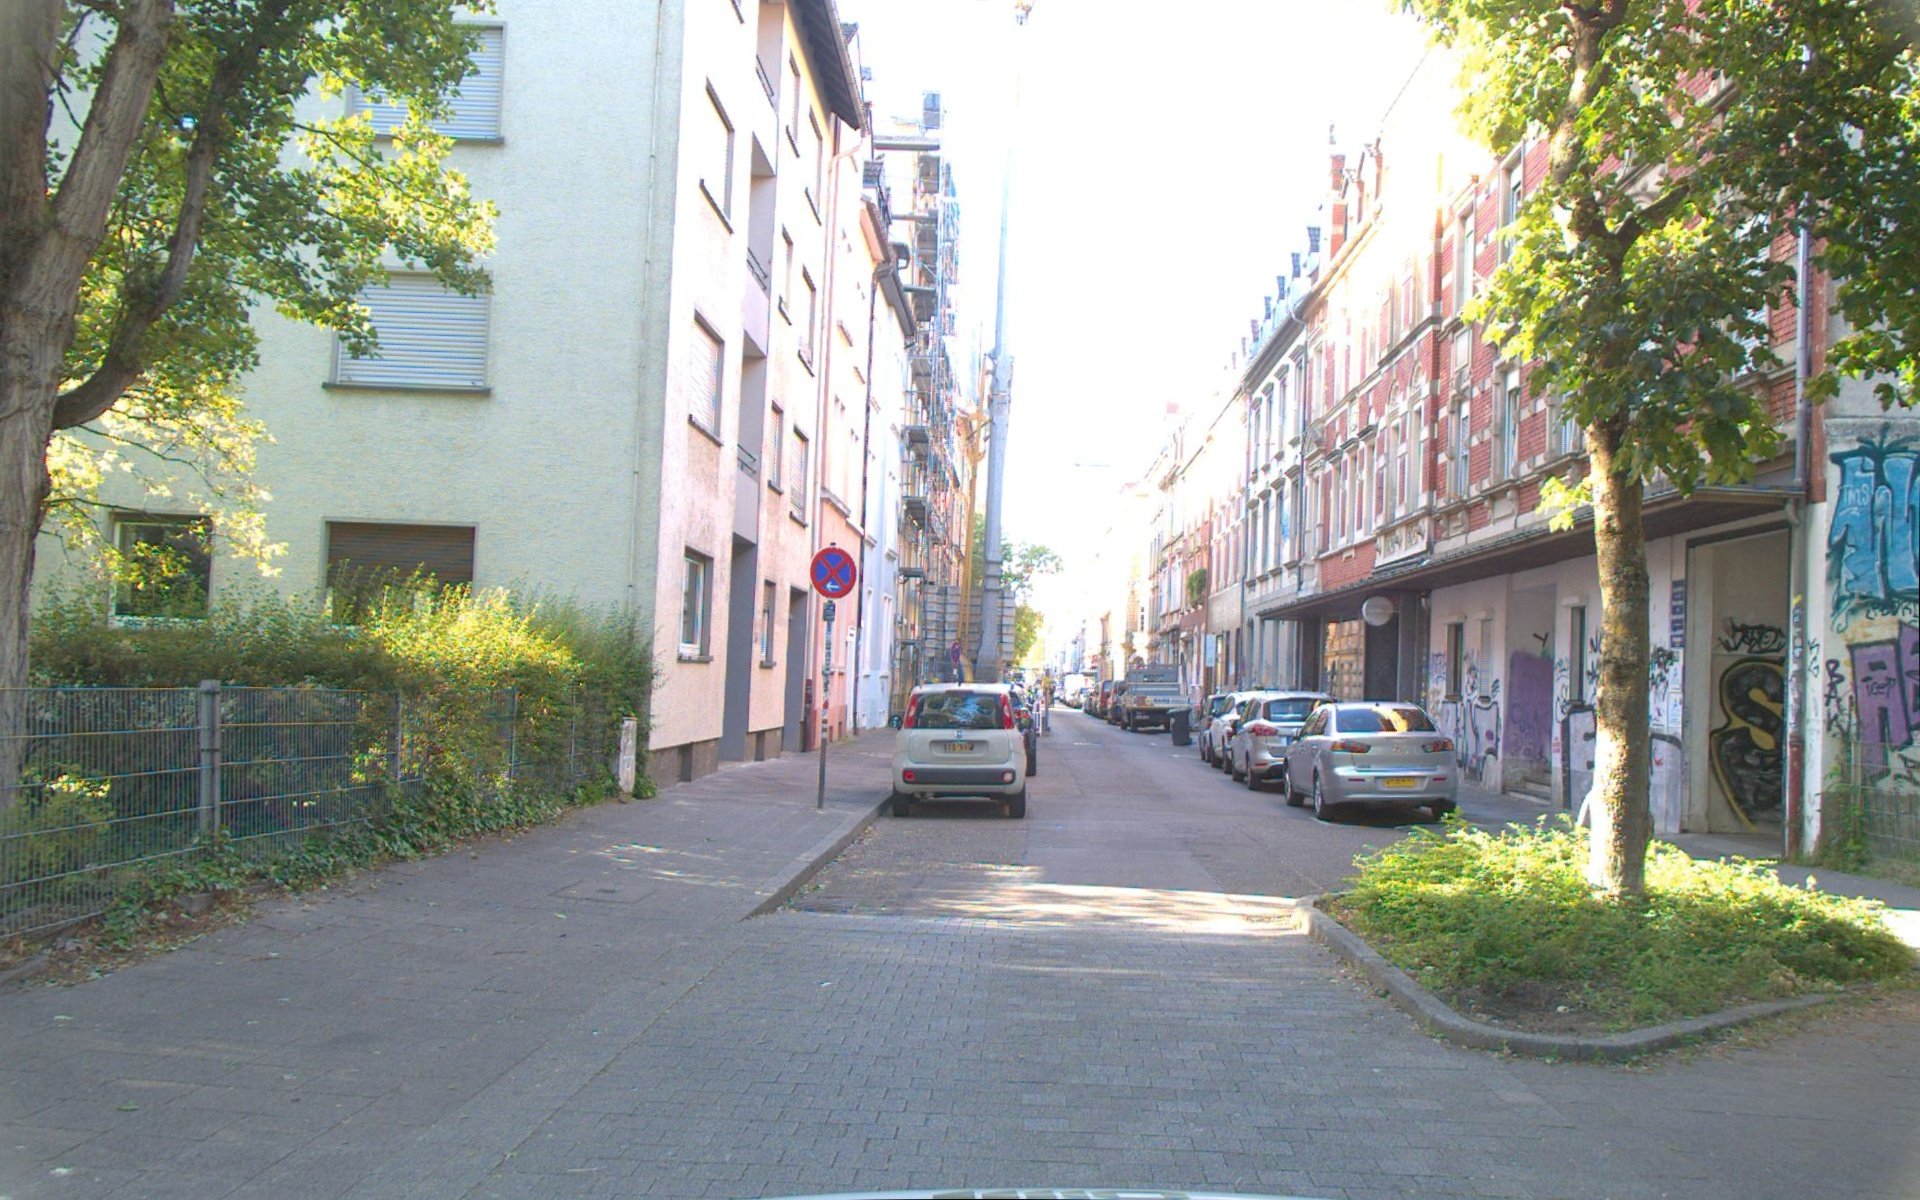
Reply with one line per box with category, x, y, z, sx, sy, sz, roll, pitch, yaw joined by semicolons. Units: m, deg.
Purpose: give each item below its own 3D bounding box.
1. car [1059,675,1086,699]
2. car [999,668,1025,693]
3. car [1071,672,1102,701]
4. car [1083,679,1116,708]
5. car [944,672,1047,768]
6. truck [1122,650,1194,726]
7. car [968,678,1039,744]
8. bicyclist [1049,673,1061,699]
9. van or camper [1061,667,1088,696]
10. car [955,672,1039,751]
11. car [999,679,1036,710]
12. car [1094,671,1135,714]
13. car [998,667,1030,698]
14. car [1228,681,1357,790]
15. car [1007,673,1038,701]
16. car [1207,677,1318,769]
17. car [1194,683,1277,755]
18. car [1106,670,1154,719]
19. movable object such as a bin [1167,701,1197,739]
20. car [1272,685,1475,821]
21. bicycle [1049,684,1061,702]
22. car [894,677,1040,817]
car;9.290;7.161;136.675;1.952;1.881;4.000;1;-3;1
car;3.968;6.176;127.039;1.952;1.881;4.000;1;-3;1
car;9.334;6.402;122.241;1.952;2.049;4.000;2;-3;1
car;8.220;5.492;97.677;1.640;1.599;3.868;2;-3;0
car;0.591;2.109;29.675;1.694;1.567;4.376;1;-3;0
truck;7.292;3.264;61.436;2.144;2.653;5.233;1;-3;1
car;1.113;2.743;41.312;1.640;1.503;4.608;2;-3;2
bicyclist;6.683;6.053;116.115;0.715;1.792;0.835;3;-2;3
van or camper;10.426;7.458;150.831;1.953;2.553;4.200;1;-3;-2
car;0.829;2.357;35.602;1.640;1.538;4.415;2;-3;2
car;2.853;4.689;82.547;1.640;1.471;3.868;2;-3;0
car;7.861;4.713;84.387;1.640;2.067;3.868;2;-3;0
car;3.013;4.628;92.739;1.640;1.599;3.868;2;-3;0
car;5.672;2.281;28.577;1.606;1.685;3.870;2;-3;3
car;3.669;5.156;97.891;1.640;1.599;3.868;2;-3;0
car;6.174;2.493;34.192;1.710;1.705;4.341;2;-3;3
car;6.519;2.796;39.418;1.563;1.588;3.814;1;-3;4
car;7.354;4.090;71.916;1.640;1.997;4.108;2;-3;0
movable object such as a bin;6.587;3.553;49.080;0.778;1.075;0.660;2;-3;2
car;5.457;1.977;22.359;1.685;1.590;4.398;2;-3;1
bicycle;6.667;6.540;116.199;0.709;1.207;2.043;3;-2;3
car;0.083;1.777;20.865;1.640;1.567;3.868;1;-3;0
